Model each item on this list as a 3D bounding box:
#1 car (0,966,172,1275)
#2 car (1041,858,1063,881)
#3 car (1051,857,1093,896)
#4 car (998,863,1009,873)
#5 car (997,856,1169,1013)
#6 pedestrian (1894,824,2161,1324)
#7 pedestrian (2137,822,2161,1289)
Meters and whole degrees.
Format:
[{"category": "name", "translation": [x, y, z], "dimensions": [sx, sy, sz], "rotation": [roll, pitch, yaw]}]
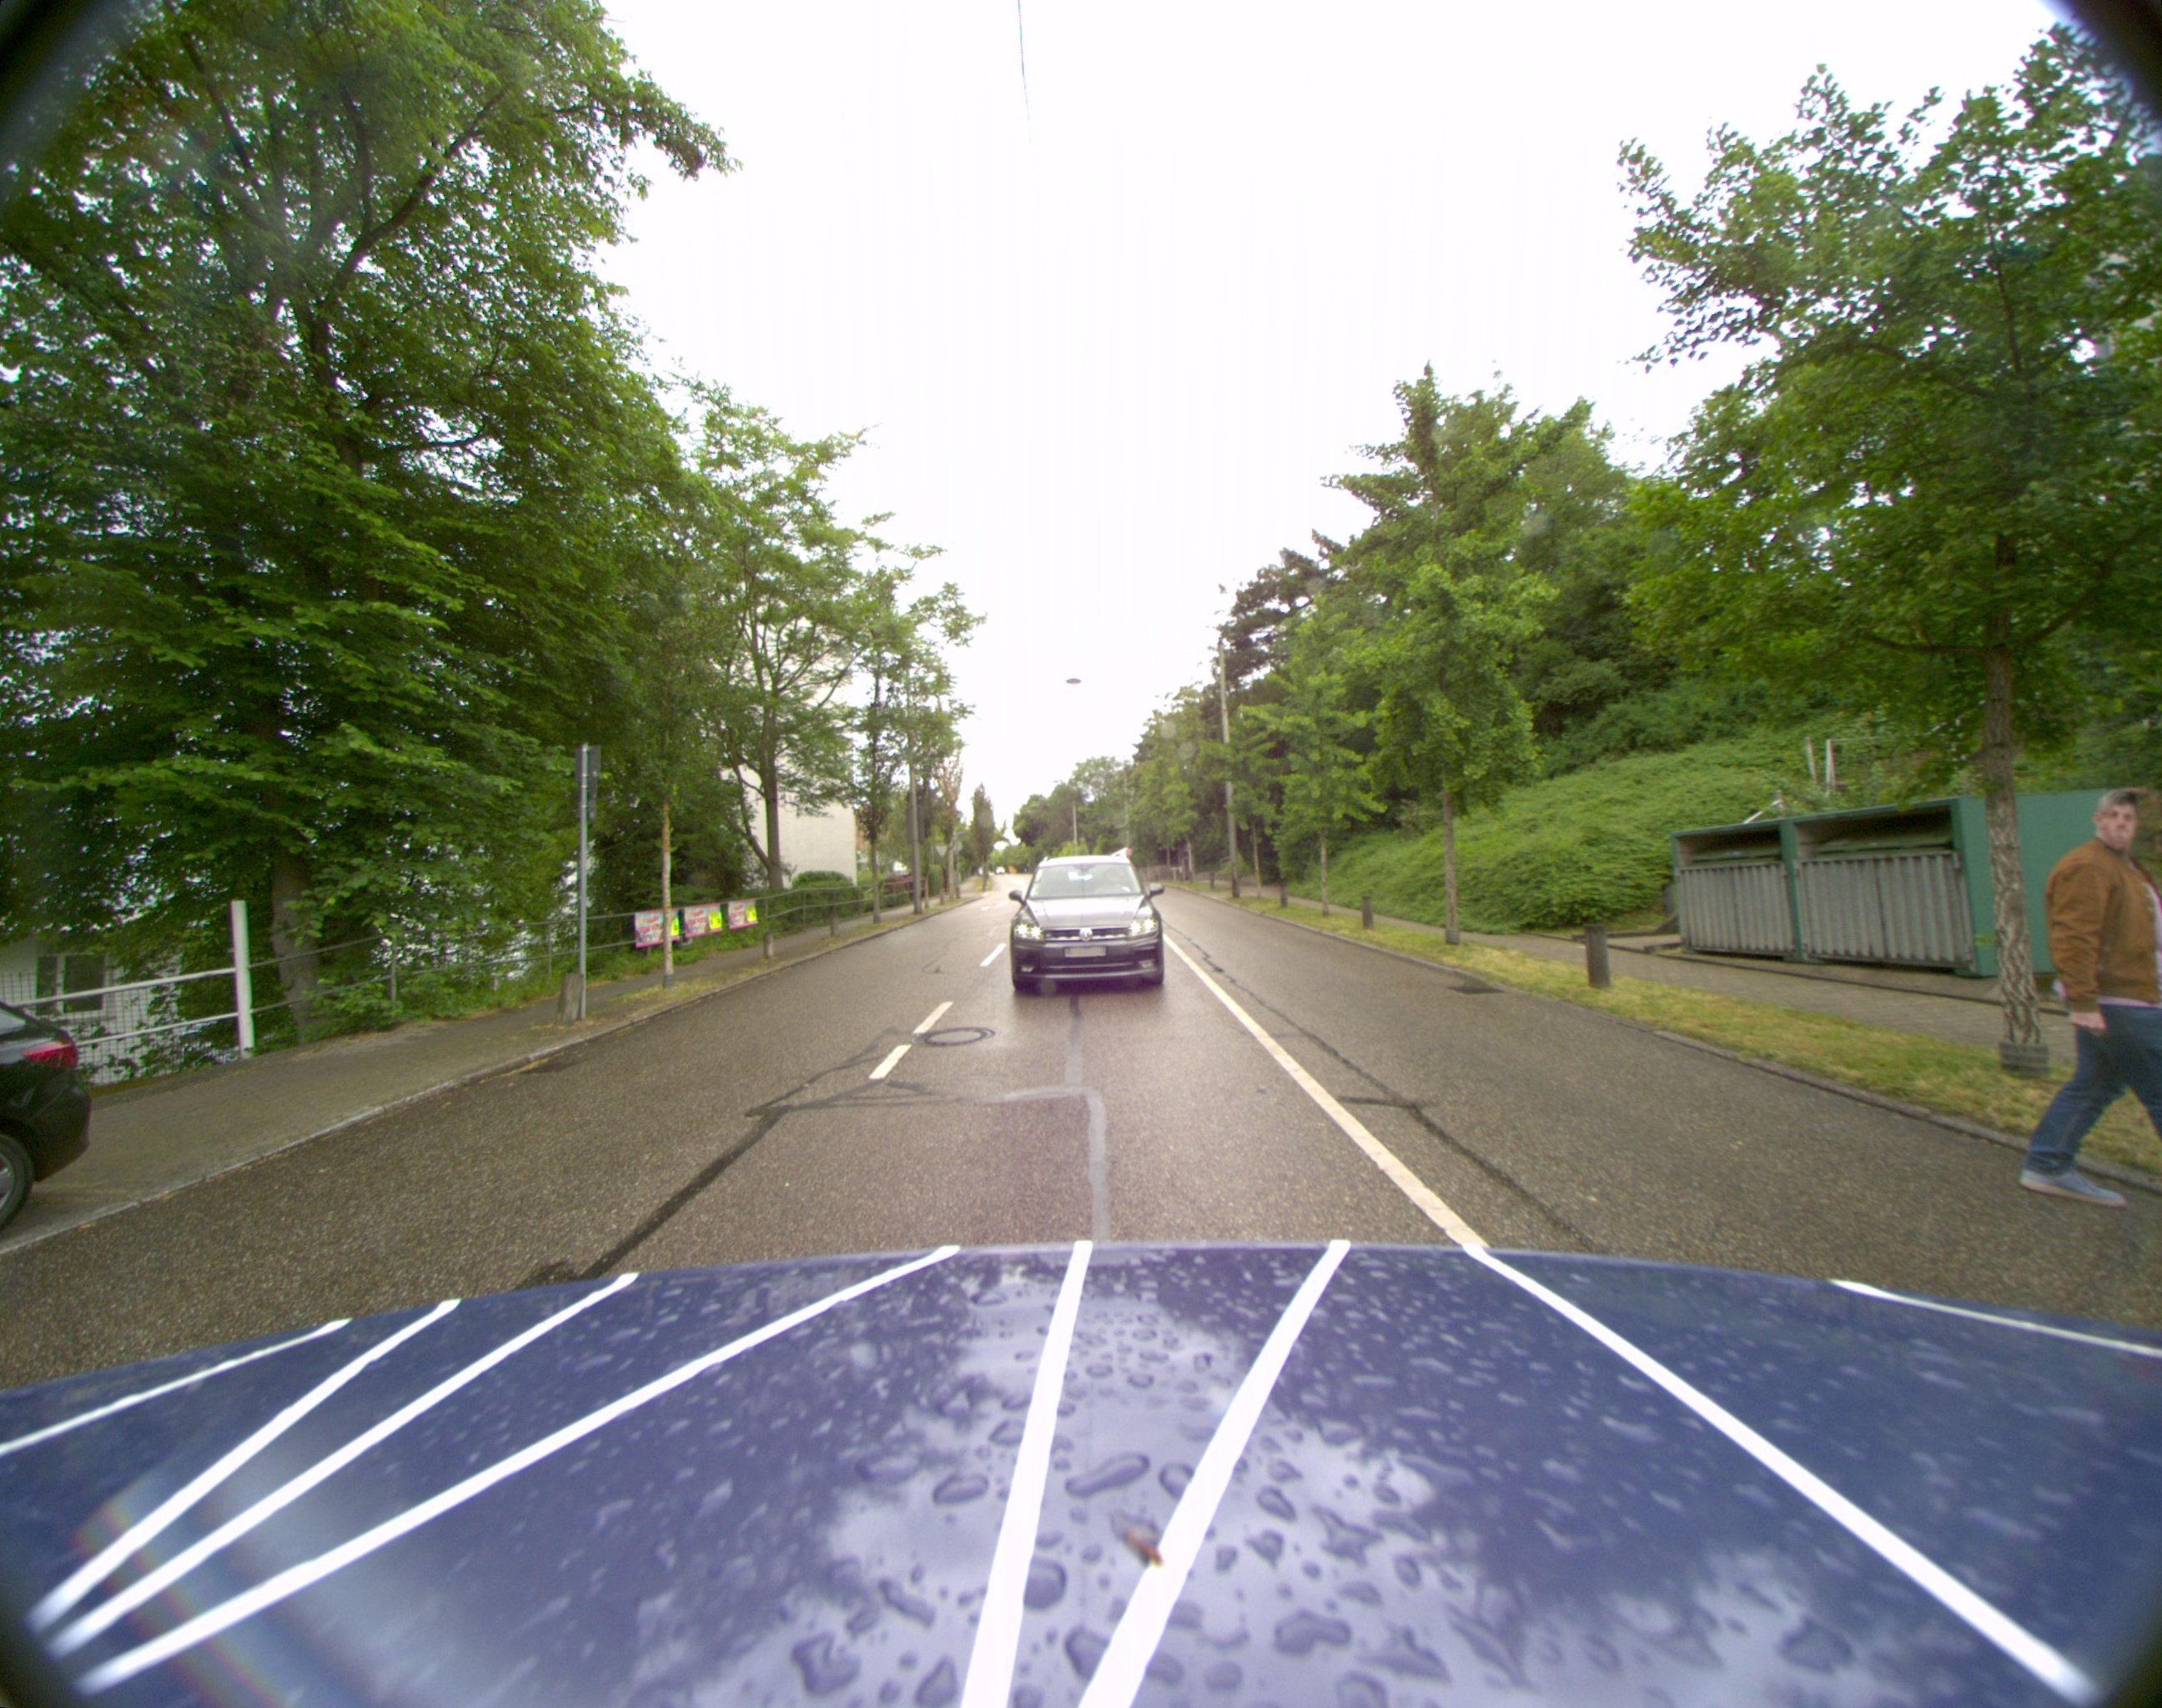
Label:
[{"category": "car", "translation": [-6.342, 1.388, 2.238], "dimensions": [1.999, 1.426, 4.442], "rotation": [-1, 0, -1]}, {"category": "car", "translation": [-2.891, 1.509, 74.082], "dimensions": [1.835, 2.003, 4.055], "rotation": [-3, 1, -5]}, {"category": "car", "translation": [-0.374, 1.042, 36.861], "dimensions": [1.834, 1.608, 4.350], "rotation": [-3, 1, 1]}, {"category": "car", "translation": [-15.485, 2.795, 152.425], "dimensions": [1.893, 1.710, 4.233], "rotation": [-1, 1, -9]}, {"category": "car", "translation": [0.056, 0.900, 10.587], "dimensions": [1.834, 1.608, 4.292], "rotation": [-3, 1, 1]}, {"category": "pedestrian", "translation": [4.326, 0.788, 3.099], "dimensions": [0.823, 1.772, 1.074], "rotation": [-4, 1, 8]}, {"category": "pedestrian", "translation": [4.420, 0.742, 2.317], "dimensions": [1.071, 1.772, 0.825], "rotation": [-4, 1, 18]}]
